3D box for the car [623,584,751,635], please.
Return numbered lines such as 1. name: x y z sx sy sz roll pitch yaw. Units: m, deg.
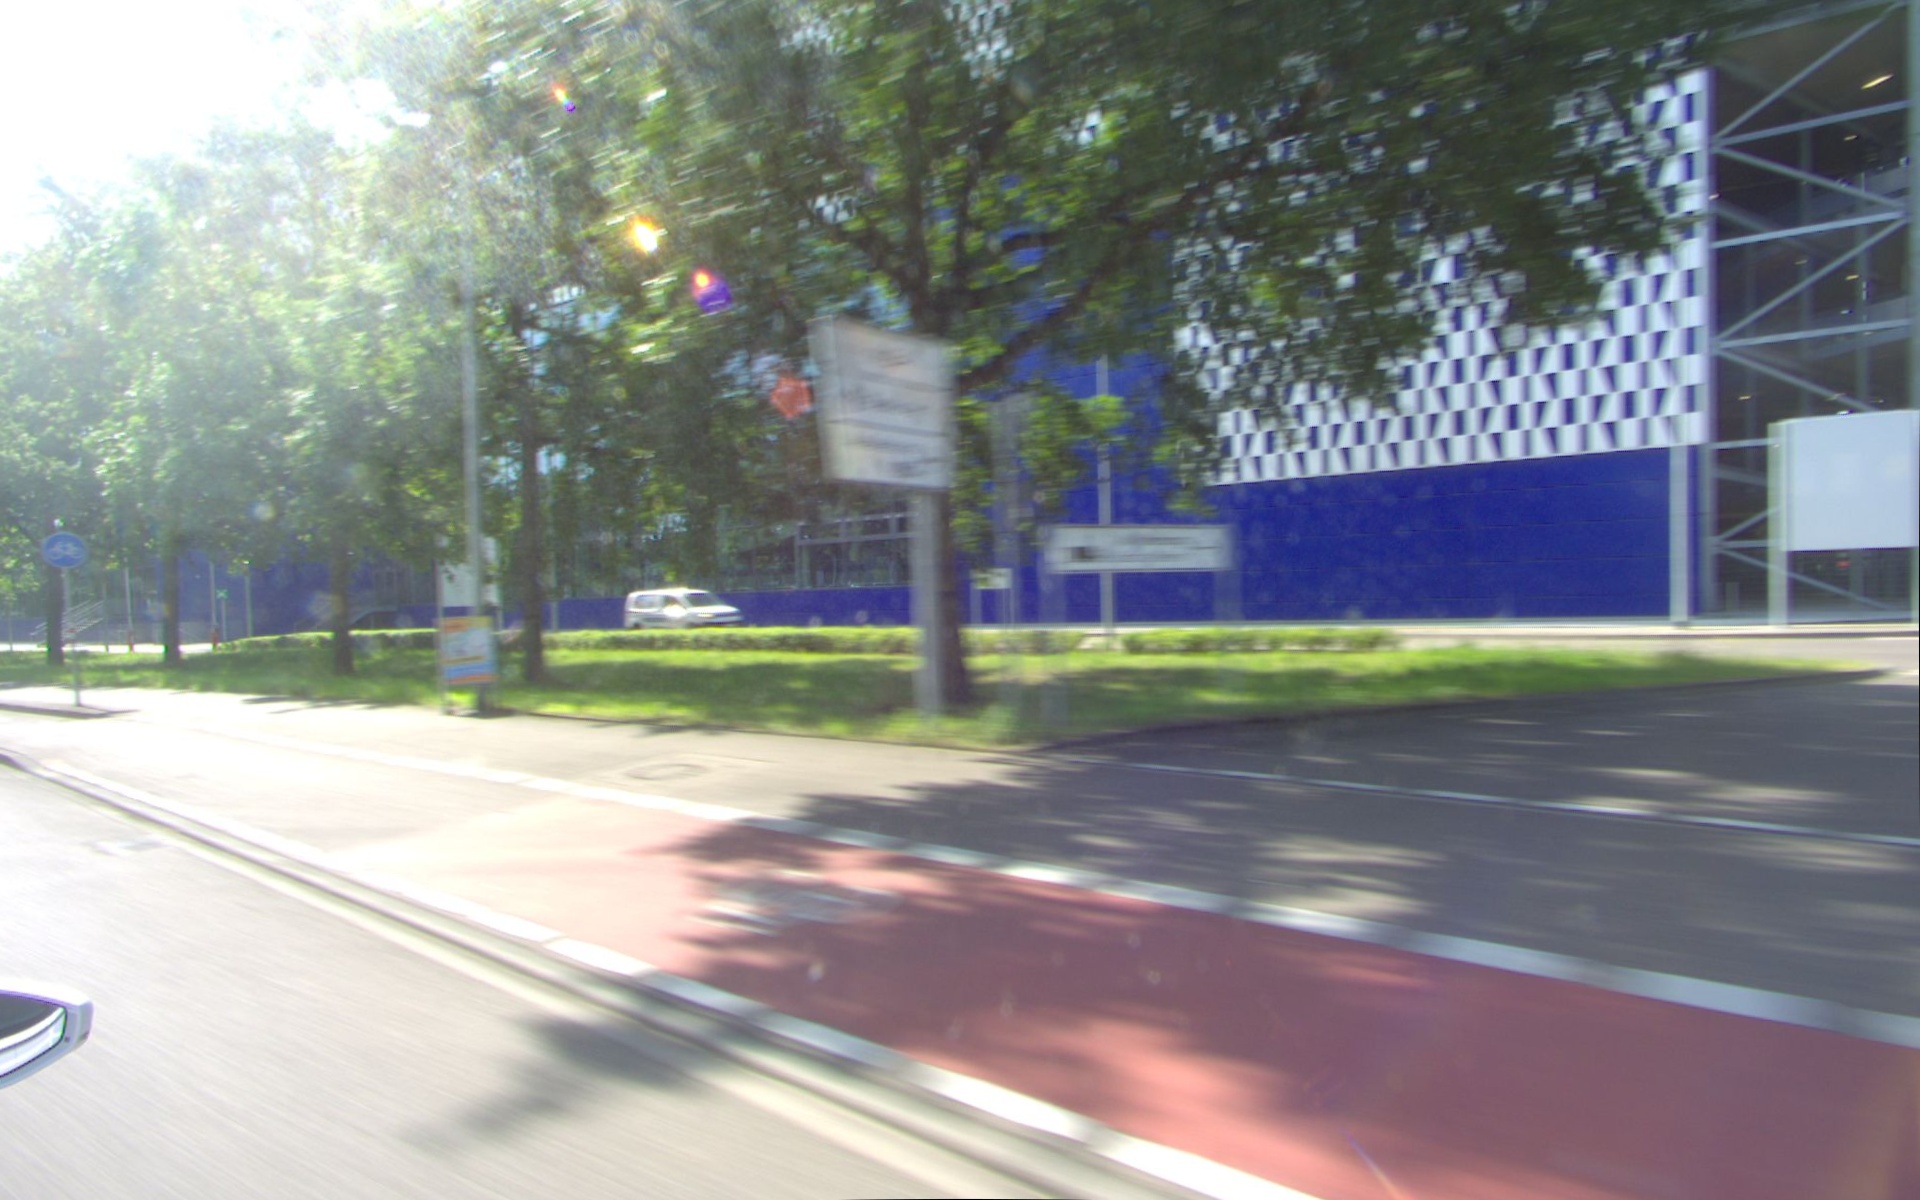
1. car: -9.405 0.362 34.429 4.241 1.660 1.848 -1 -1 31
